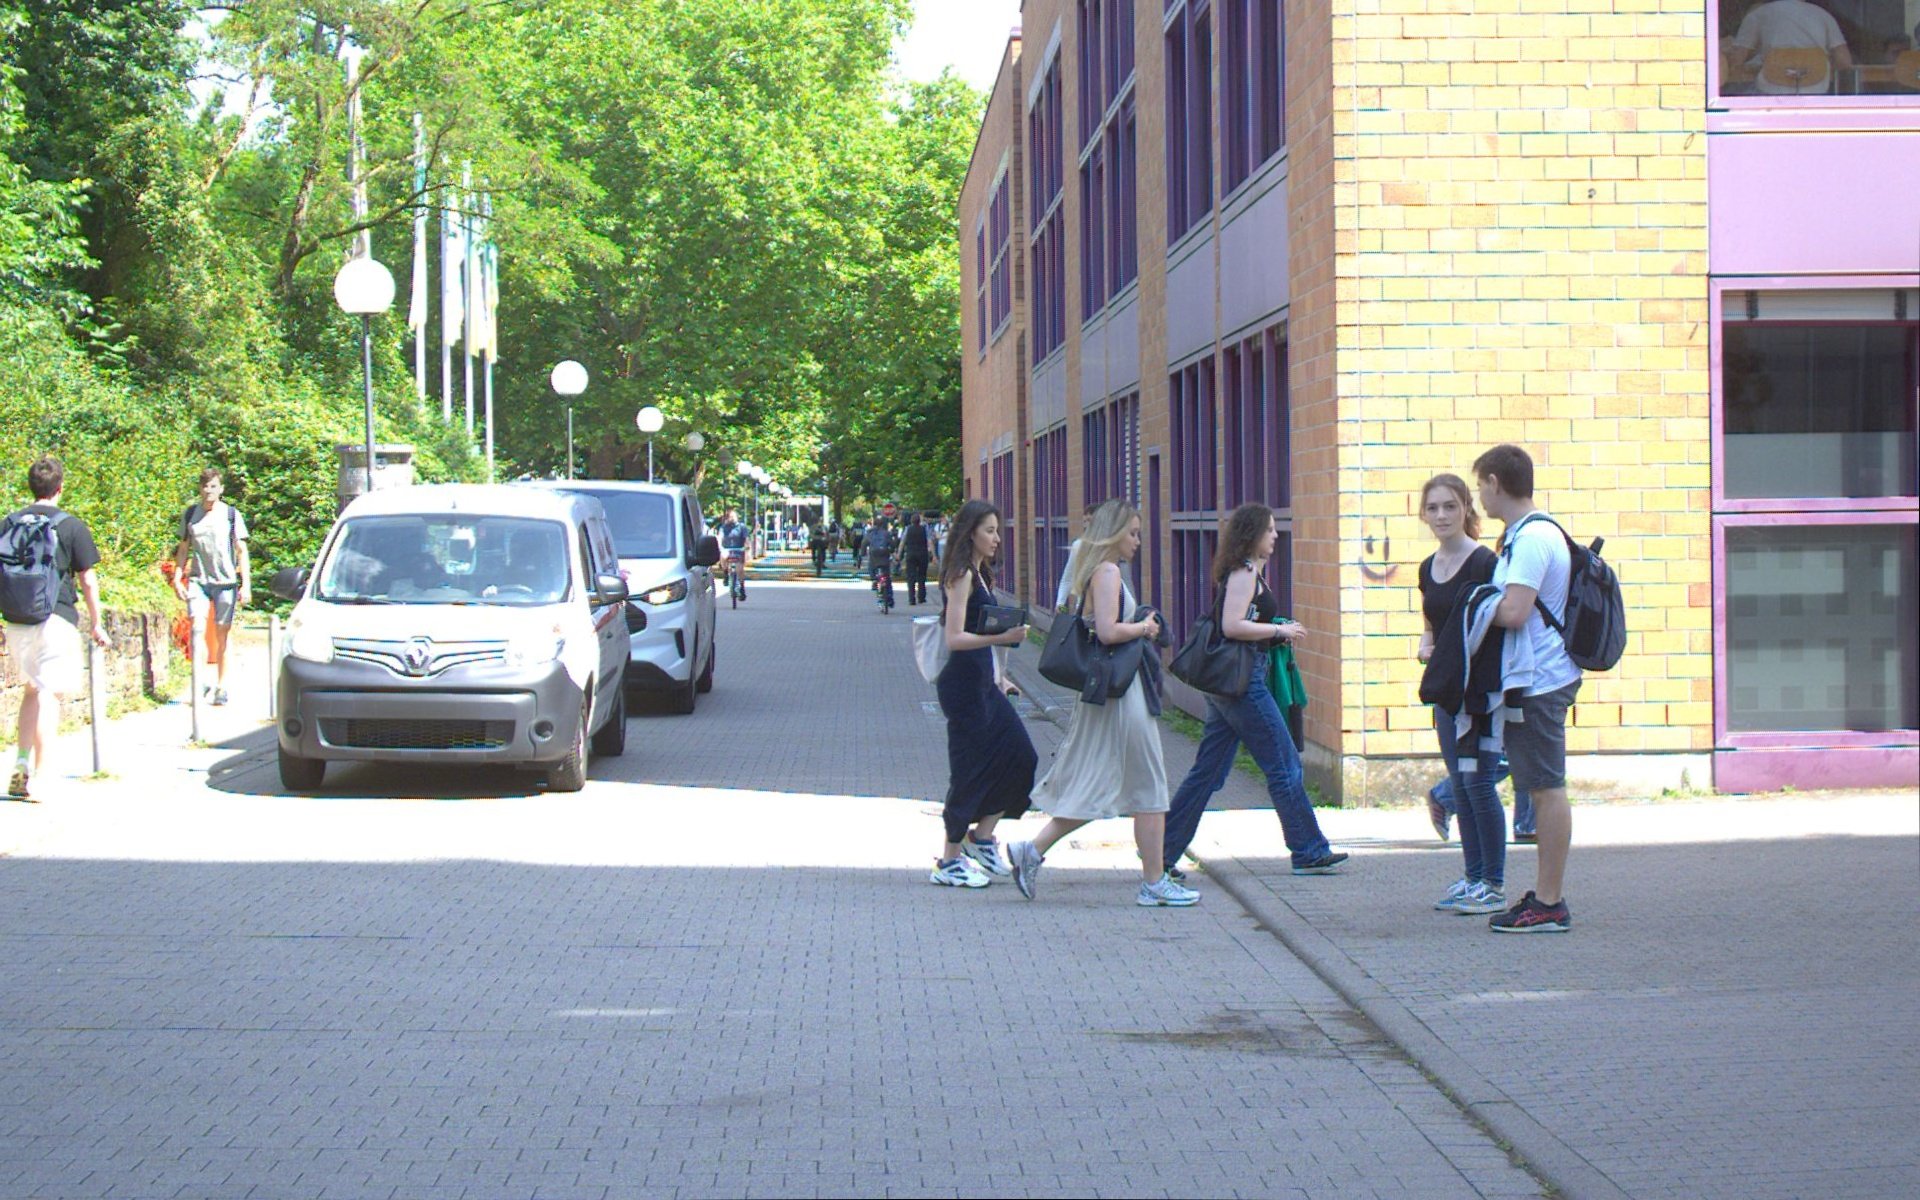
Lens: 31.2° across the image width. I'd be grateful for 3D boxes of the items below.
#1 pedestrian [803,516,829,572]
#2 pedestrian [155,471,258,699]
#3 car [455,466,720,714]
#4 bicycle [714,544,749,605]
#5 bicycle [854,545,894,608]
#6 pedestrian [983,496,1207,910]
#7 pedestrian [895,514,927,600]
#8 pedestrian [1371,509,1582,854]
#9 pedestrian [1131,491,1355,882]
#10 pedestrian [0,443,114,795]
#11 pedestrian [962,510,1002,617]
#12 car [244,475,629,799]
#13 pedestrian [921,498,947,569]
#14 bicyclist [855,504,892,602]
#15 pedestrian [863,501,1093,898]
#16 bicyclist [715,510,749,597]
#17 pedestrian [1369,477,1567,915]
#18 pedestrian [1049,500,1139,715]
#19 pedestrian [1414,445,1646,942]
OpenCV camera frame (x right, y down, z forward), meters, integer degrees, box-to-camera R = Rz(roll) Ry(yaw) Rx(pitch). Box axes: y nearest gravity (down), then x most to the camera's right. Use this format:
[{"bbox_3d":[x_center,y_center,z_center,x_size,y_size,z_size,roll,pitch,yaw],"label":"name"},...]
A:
[{"bbox_3d":[-4.390,-1.707,104.733,0.725,1.667,0.748,-2,0,0],"label":"pedestrian"},{"bbox_3d":[-6.157,-0.127,28.131,0.682,1.838,0.783,0,0,-1],"label":"pedestrian"},{"bbox_3d":[-3.148,-0.144,29.981,1.883,1.967,5.215,0,1,-2],"label":"car"},{"bbox_3d":[-4.148,-0.466,62.394,0.587,1.080,1.814,0,1,-5],"label":"bicycle"},{"bbox_3d":[-1.510,-0.420,60.030,0.587,1.080,1.908,0,1,-5],"label":"bicycle"},{"bbox_3d":[0.565,0.412,14.197,0.886,1.667,0.559,0,0,6],"label":"pedestrian"},{"bbox_3d":[-0.971,-0.845,68.011,0.586,1.667,0.817,-2,0,0],"label":"pedestrian"},{"bbox_3d":[2.394,0.365,16.010,0.886,1.537,0.743,-2,2,6],"label":"pedestrian"},{"bbox_3d":[1.244,0.372,15.068,0.929,1.667,0.588,-1,0,6],"label":"pedestrian"},{"bbox_3d":[-4.943,0.097,18.348,0.682,1.838,0.783,0,0,-1],"label":"pedestrian"},{"bbox_3d":[0.349,-0.574,54.368,0.586,1.667,0.699,-2,0,0],"label":"pedestrian"},{"bbox_3d":[-3.095,0.148,21.156,1.790,1.755,4.482,-1,1,-2],"label":"car"},{"bbox_3d":[-0.720,-1.833,94.672,0.653,1.915,0.817,-2,0,0],"label":"pedestrian"},{"bbox_3d":[-1.515,-0.826,60.036,0.587,1.710,0.665,0,1,-5],"label":"bicyclist"},{"bbox_3d":[0.090,0.420,15.018,0.886,1.666,0.643,-2,2,6],"label":"pedestrian"},{"bbox_3d":[-4.136,-0.853,62.350,0.587,1.567,0.829,0,1,-5],"label":"bicyclist"},{"bbox_3d":[1.987,0.369,13.507,0.697,1.667,0.588,-2,0,6],"label":"pedestrian"},{"bbox_3d":[1.094,0.057,28.213,0.682,1.741,0.783,0,0,-1],"label":"pedestrian"},{"bbox_3d":[2.109,0.341,12.778,0.767,1.788,0.588,-2,0,6],"label":"pedestrian"}]
